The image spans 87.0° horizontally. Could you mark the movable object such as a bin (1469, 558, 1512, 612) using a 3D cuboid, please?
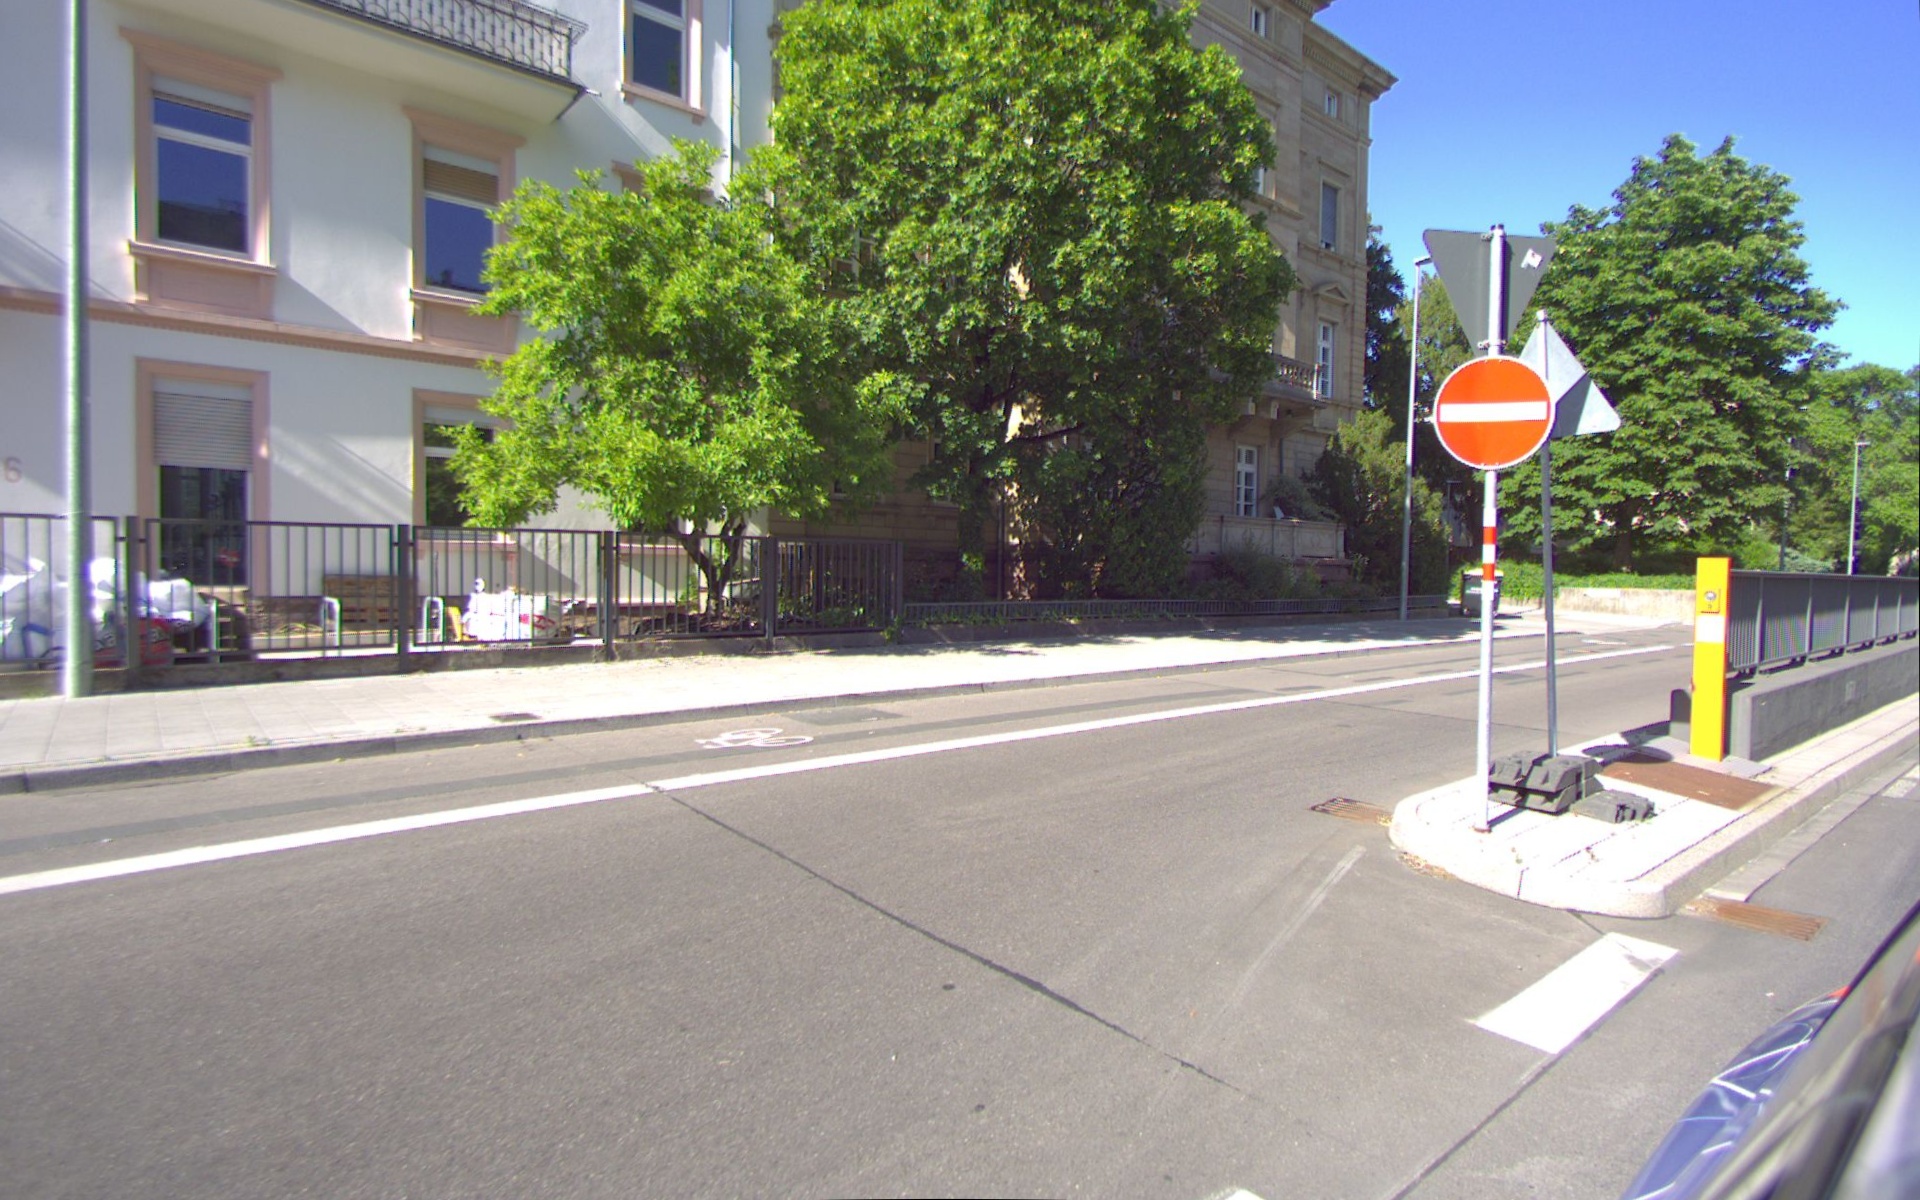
[{"bbox_3d":[14.579,-0.427,27.833,0.965,1.415,1.276,3,2,27],"label":"movable object such as a bin"}]
